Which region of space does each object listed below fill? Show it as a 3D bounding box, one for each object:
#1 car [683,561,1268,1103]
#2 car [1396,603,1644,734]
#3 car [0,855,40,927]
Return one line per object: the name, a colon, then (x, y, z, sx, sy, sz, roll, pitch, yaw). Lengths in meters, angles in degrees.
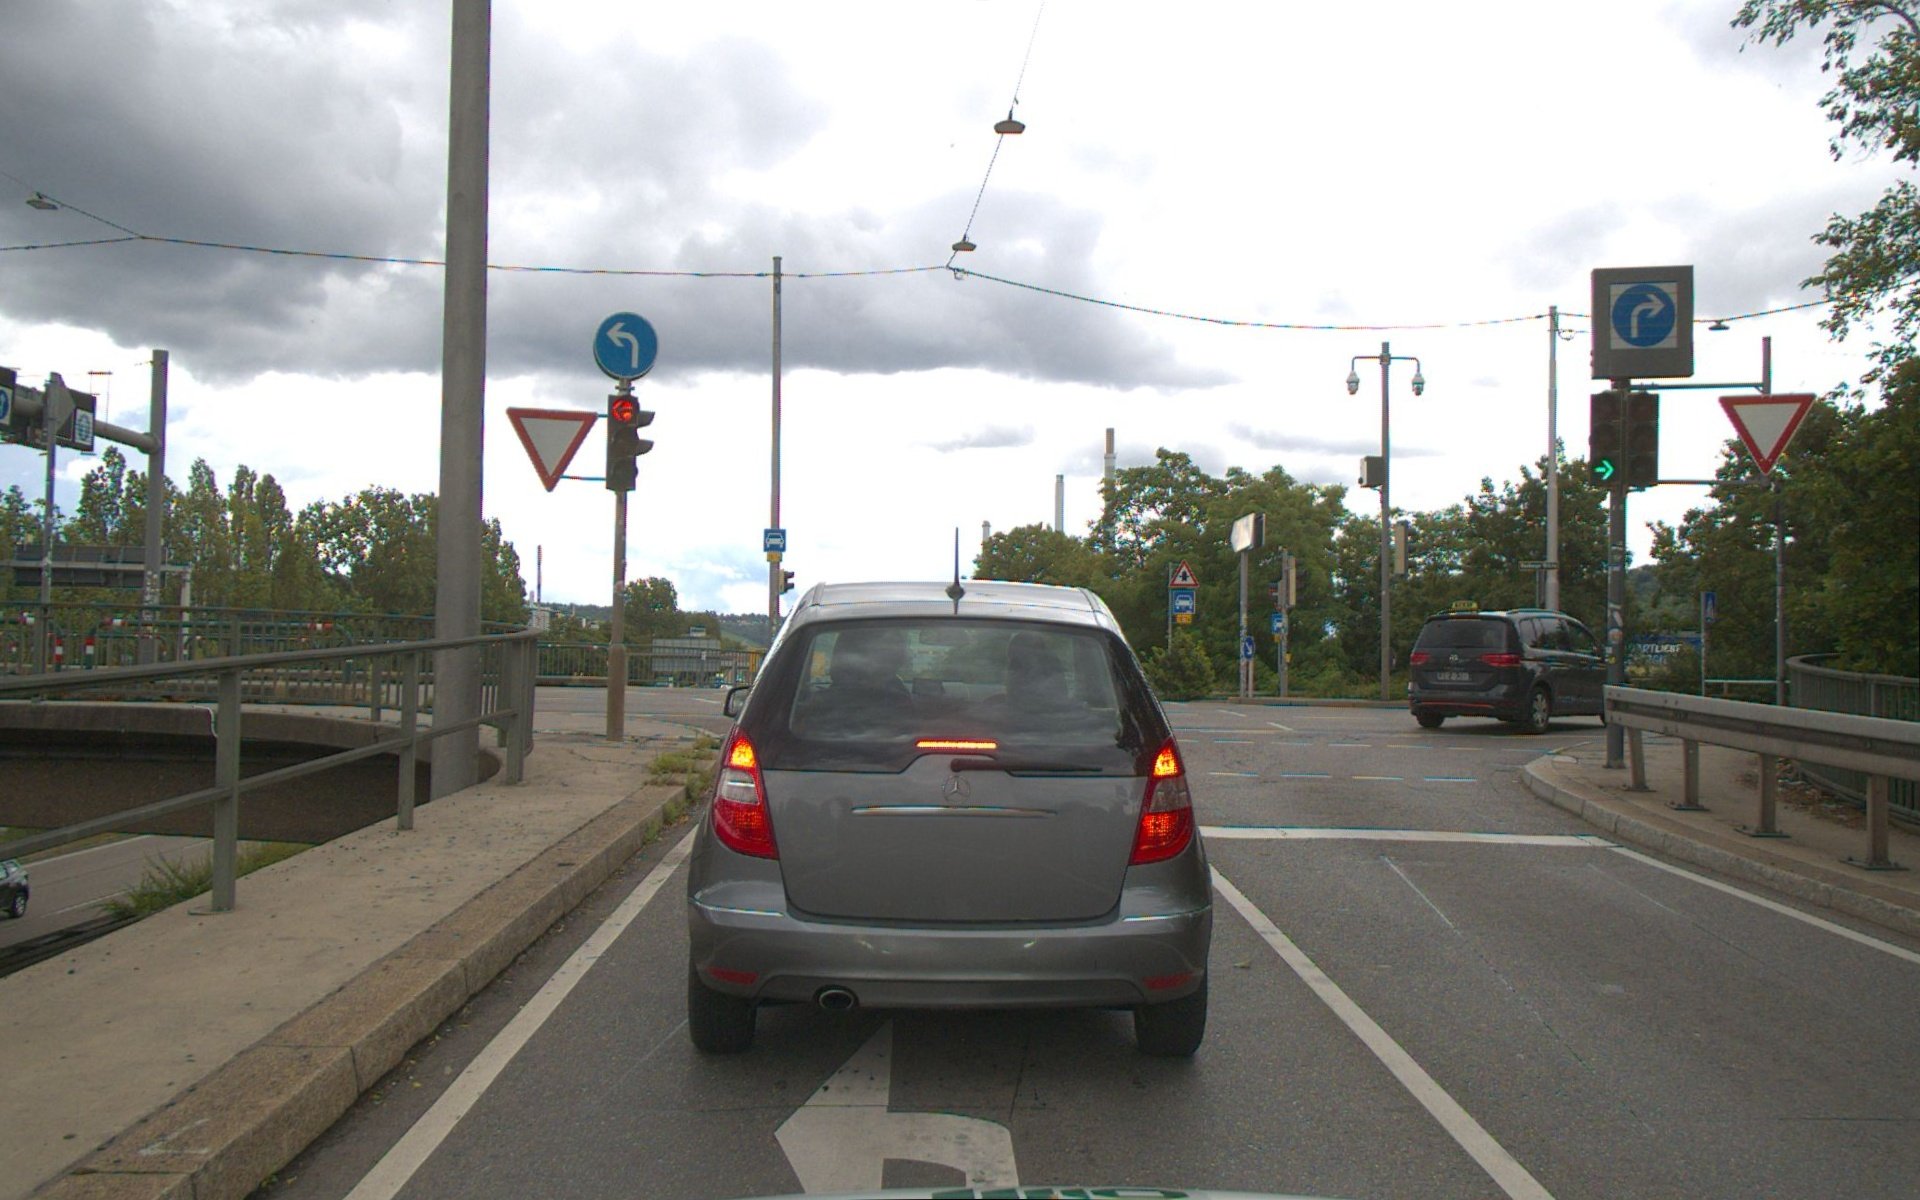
car: (0.030, 0.693, 6.646, 1.704, 1.570, 3.540, 1, 0, -1)
car: (8.041, 0.923, 23.549, 1.771, 1.682, 4.122, 1, 0, 44)
car: (-26.213, 7.826, 43.705, 1.631, 1.649, 3.998, -1, -2, -1)
